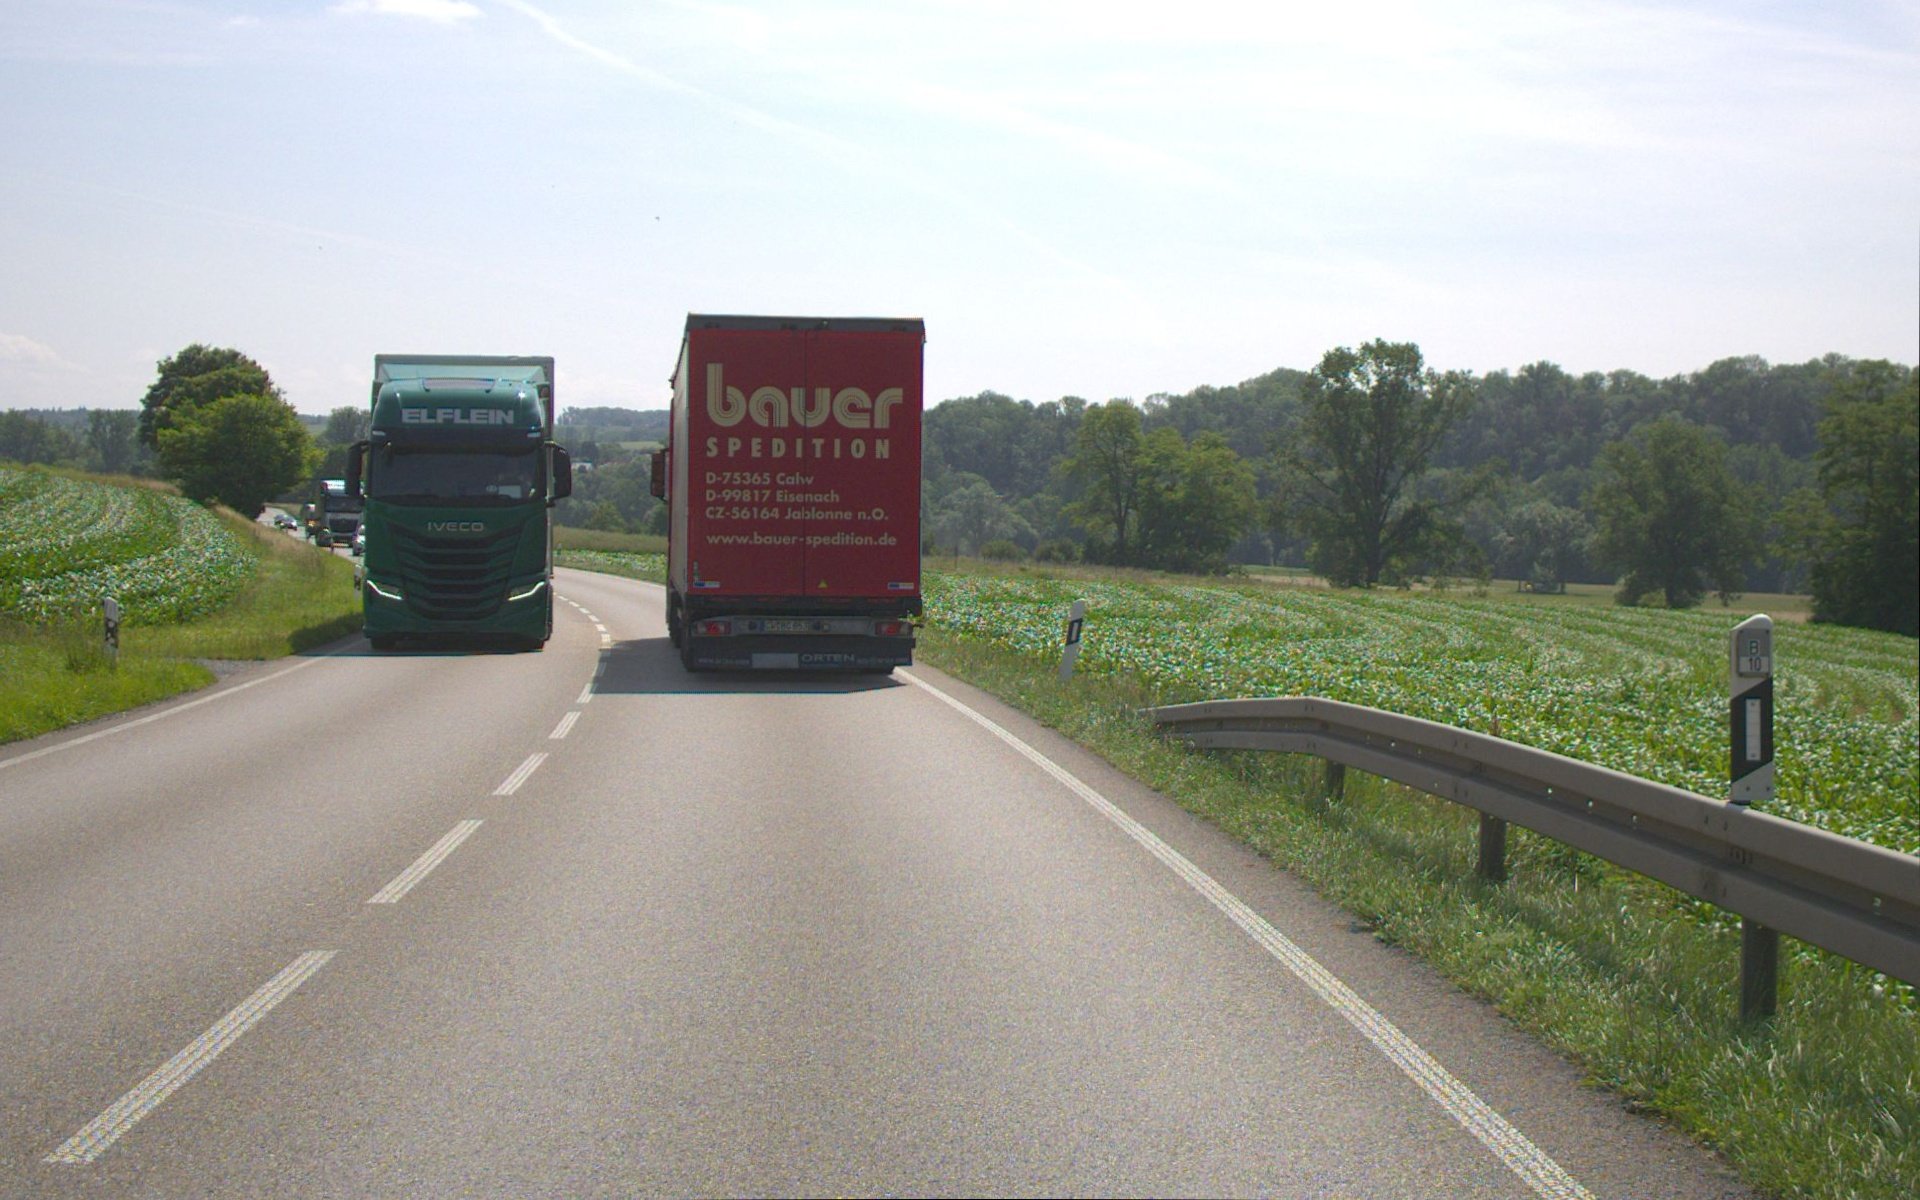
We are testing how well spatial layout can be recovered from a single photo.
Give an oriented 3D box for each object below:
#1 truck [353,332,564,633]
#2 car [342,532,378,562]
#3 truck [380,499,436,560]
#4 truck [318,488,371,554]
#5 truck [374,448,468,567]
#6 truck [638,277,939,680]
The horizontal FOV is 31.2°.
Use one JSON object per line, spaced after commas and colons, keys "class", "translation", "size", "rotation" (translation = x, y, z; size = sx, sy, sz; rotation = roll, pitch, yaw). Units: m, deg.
{"class": "truck", "translation": [-7.711, -1.753, 54.447], "size": [2.770, 3.985, 17.032], "rotation": [0, 1, -7]}
{"class": "car", "translation": [-29.300, -2.596, 167.783], "size": [1.727, 1.435, 4.178], "rotation": [0, 1, -10]}
{"class": "truck", "translation": [-21.751, -2.778, 135.314], "size": [2.009, 2.312, 5.193], "rotation": [0, 1, -11]}
{"class": "truck", "translation": [-38.672, -4.964, 215.624], "size": [2.826, 3.979, 16.538], "rotation": [-1, 2, -12]}
{"class": "truck", "translation": [-16.929, -2.886, 108.424], "size": [2.740, 3.566, 9.729], "rotation": [0, 1, -8]}
{"class": "truck", "translation": [-2.196, -1.336, 40.506], "size": [3.094, 4.248, 8.316], "rotation": [0, 1, -6]}
